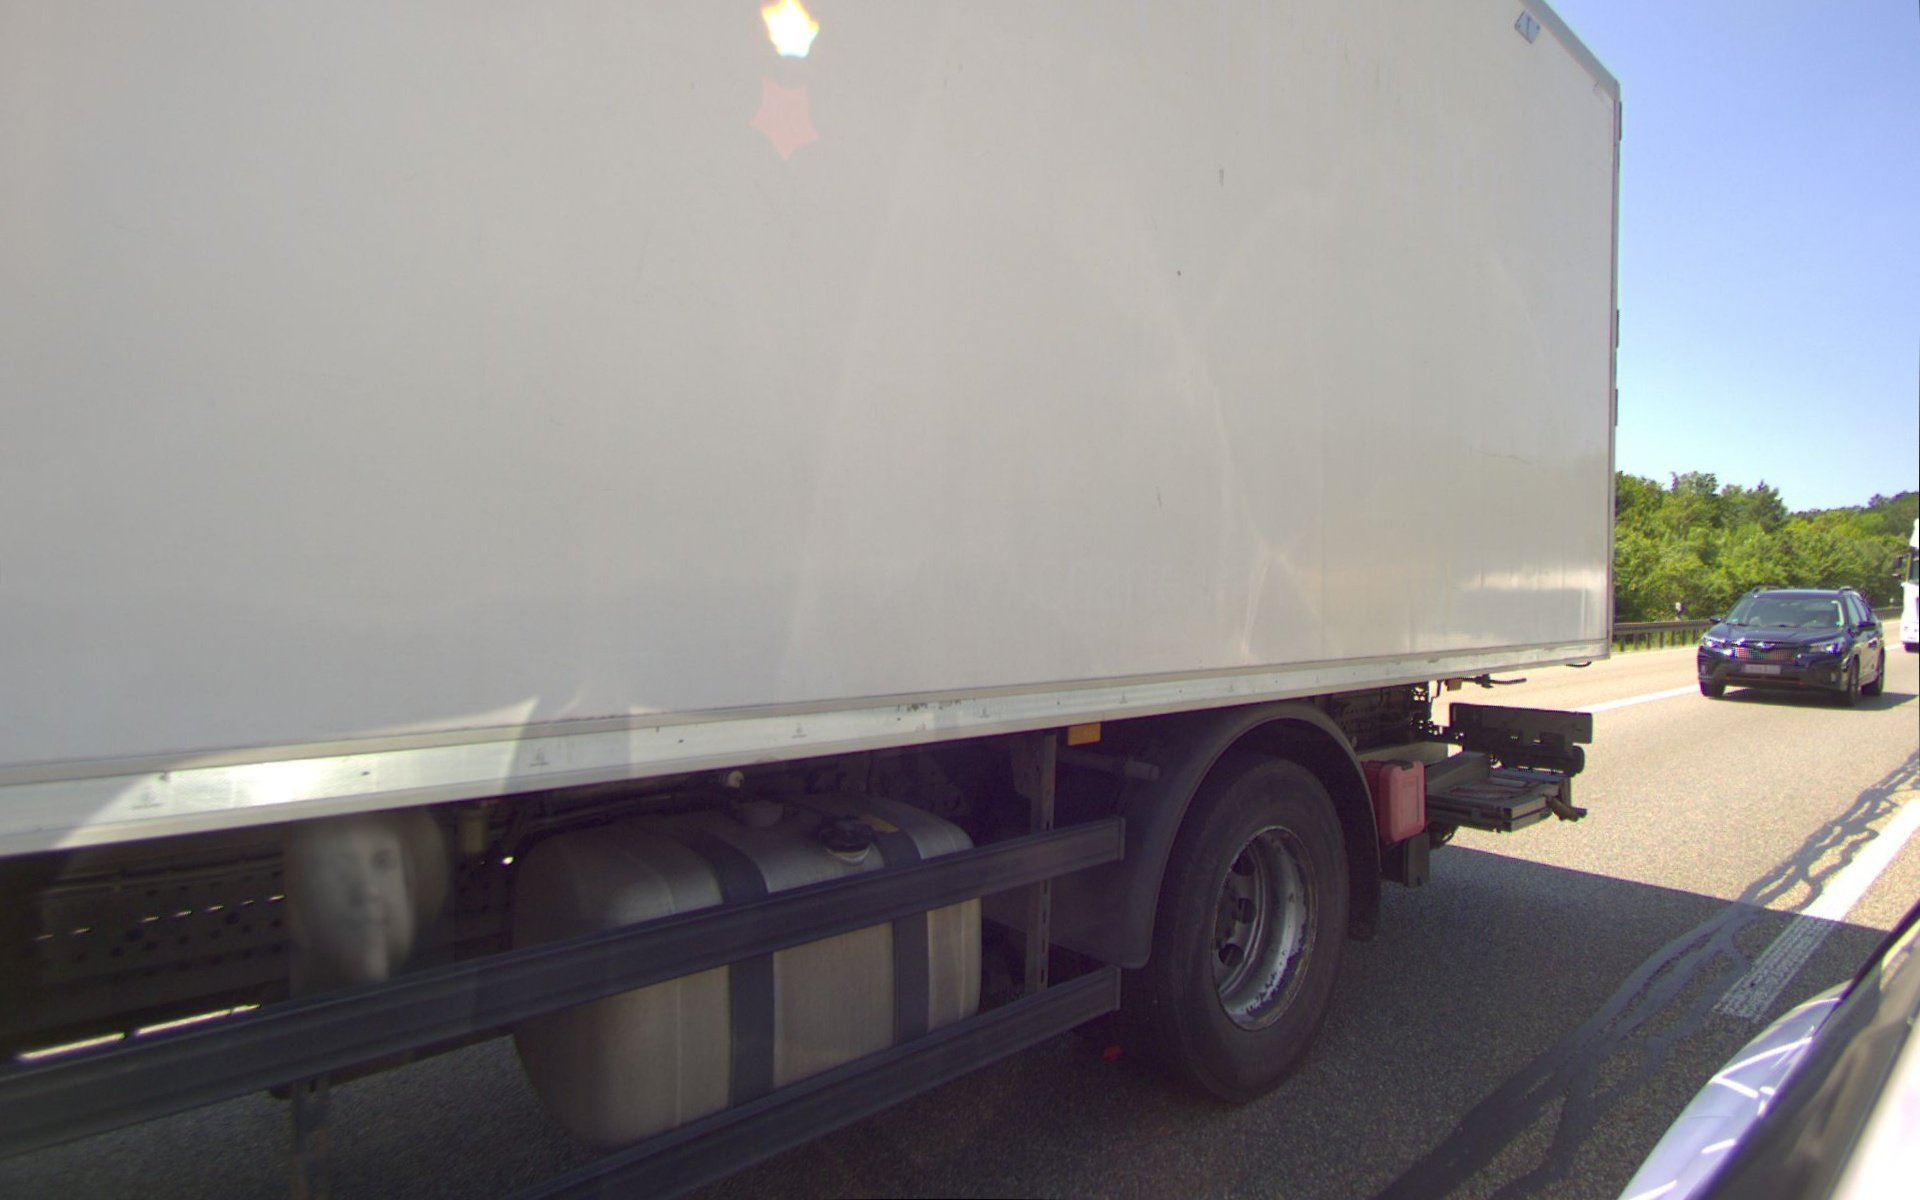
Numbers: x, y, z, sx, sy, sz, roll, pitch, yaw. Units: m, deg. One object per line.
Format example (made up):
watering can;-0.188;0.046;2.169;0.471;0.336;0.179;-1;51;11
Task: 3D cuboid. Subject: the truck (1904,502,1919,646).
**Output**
truck;34.862;-0.788;34.029;15.981;4.221;2.788;0;1;-41

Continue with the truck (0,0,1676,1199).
truck;-1.261;-0.639;2.621;9.609;3.922;2.694;0;4;-41

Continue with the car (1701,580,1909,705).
car;13.197;0.555;15.729;4.129;1.688;1.815;0;1;-40
